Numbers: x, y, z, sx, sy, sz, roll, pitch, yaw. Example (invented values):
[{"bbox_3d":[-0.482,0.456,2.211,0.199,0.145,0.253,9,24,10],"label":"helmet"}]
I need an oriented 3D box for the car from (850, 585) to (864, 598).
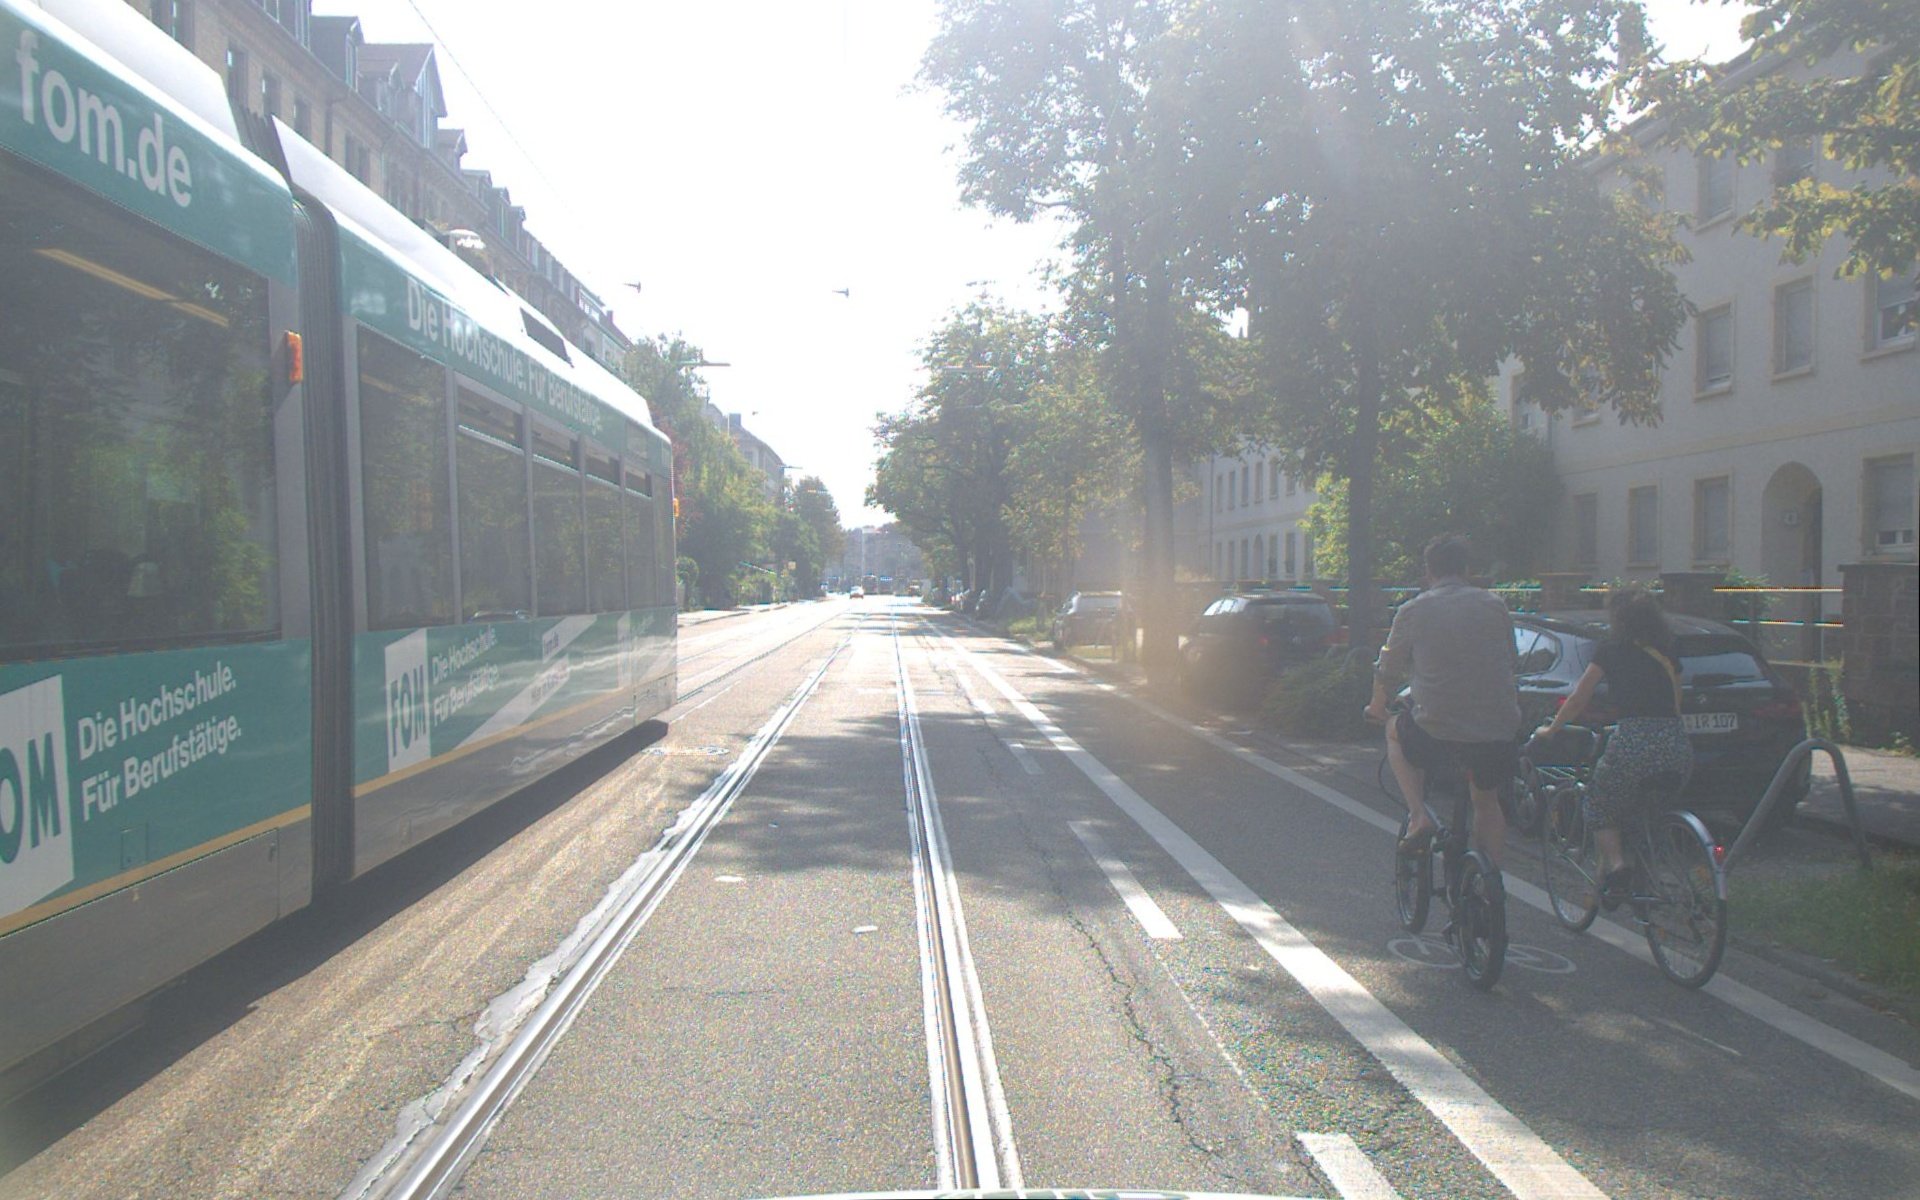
[{"bbox_3d":[-13.235,-1.062,212.416,1.692,1.666,3.982,0,0,-3],"label":"car"}]

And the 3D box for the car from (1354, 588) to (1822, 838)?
[{"bbox_3d":[4.443,0.685,12.479,1.656,1.459,4.334,-2,1,-3],"label":"car"}]

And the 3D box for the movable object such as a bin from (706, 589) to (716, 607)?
[{"bbox_3d":[-15.135,-0.139,100.596,0.619,1.097,0.703,0,0,-9],"label":"movable object such as a bin"}]

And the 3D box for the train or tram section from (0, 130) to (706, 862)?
[{"bbox_3d":[-3.998,-0.562,13.525,2.680,3.567,10.770,1,1,-3],"label":"train or tram section"}]

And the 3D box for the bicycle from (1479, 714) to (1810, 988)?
[{"bbox_3d":[2.983,1.054,7.419,0.641,0.924,1.774,2,0,-3],"label":"bicycle"}]

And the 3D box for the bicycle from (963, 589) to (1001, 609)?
[{"bbox_3d":[1.244,-0.055,92.795,2.068,1.124,0.562,0,0,-10],"label":"bicycle"}]

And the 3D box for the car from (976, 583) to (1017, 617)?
[{"bbox_3d":[1.721,-0.004,79.964,1.692,1.531,3.982,-1,0,-3],"label":"car"}]

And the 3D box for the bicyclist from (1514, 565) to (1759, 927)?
[{"bbox_3d":[2.996,0.613,7.402,0.641,1.499,0.908,2,0,-3],"label":"bicyclist"}]

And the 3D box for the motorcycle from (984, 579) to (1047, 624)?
[{"bbox_3d":[2.149,0.065,64.144,2.377,1.703,0.908,-1,1,42],"label":"motorcycle"}]

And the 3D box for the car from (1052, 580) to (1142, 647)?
[{"bbox_3d":[3.367,0.308,41.515,1.708,1.588,4.717,0,0,-2],"label":"car"}]

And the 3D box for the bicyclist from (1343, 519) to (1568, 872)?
[{"bbox_3d":[2.140,0.390,7.242,0.614,1.425,0.929,2,0,-3],"label":"bicyclist"}]

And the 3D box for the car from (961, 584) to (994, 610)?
[{"bbox_3d":[1.005,-0.155,96.967,1.736,1.499,3.972,0,0,-2],"label":"car"}]

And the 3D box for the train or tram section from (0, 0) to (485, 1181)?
[{"bbox_3d":[-3.427,-0.483,2.714,2.680,3.567,10.770,1,1,-3],"label":"train or tram section"}]

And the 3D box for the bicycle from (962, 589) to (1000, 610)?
[{"bbox_3d":[1.166,-0.032,93.316,2.068,1.124,0.562,0,0,-10],"label":"bicycle"}]

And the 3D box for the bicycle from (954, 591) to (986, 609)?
[{"bbox_3d":[0.659,-0.017,107.436,2.065,1.124,0.615,-1,0,-4],"label":"bicycle"}]

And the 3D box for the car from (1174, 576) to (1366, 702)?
[{"bbox_3d":[4.168,0.484,22.870,1.656,1.528,4.093,-2,0,-3],"label":"car"}]

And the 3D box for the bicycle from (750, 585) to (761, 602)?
[{"bbox_3d":[-15.731,-0.512,127.250,0.549,1.242,2.113,0,0,-1],"label":"bicycle"}]

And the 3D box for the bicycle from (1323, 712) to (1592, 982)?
[{"bbox_3d":[2.114,1.019,7.233,0.614,0.924,1.524,2,0,-3],"label":"bicycle"}]
